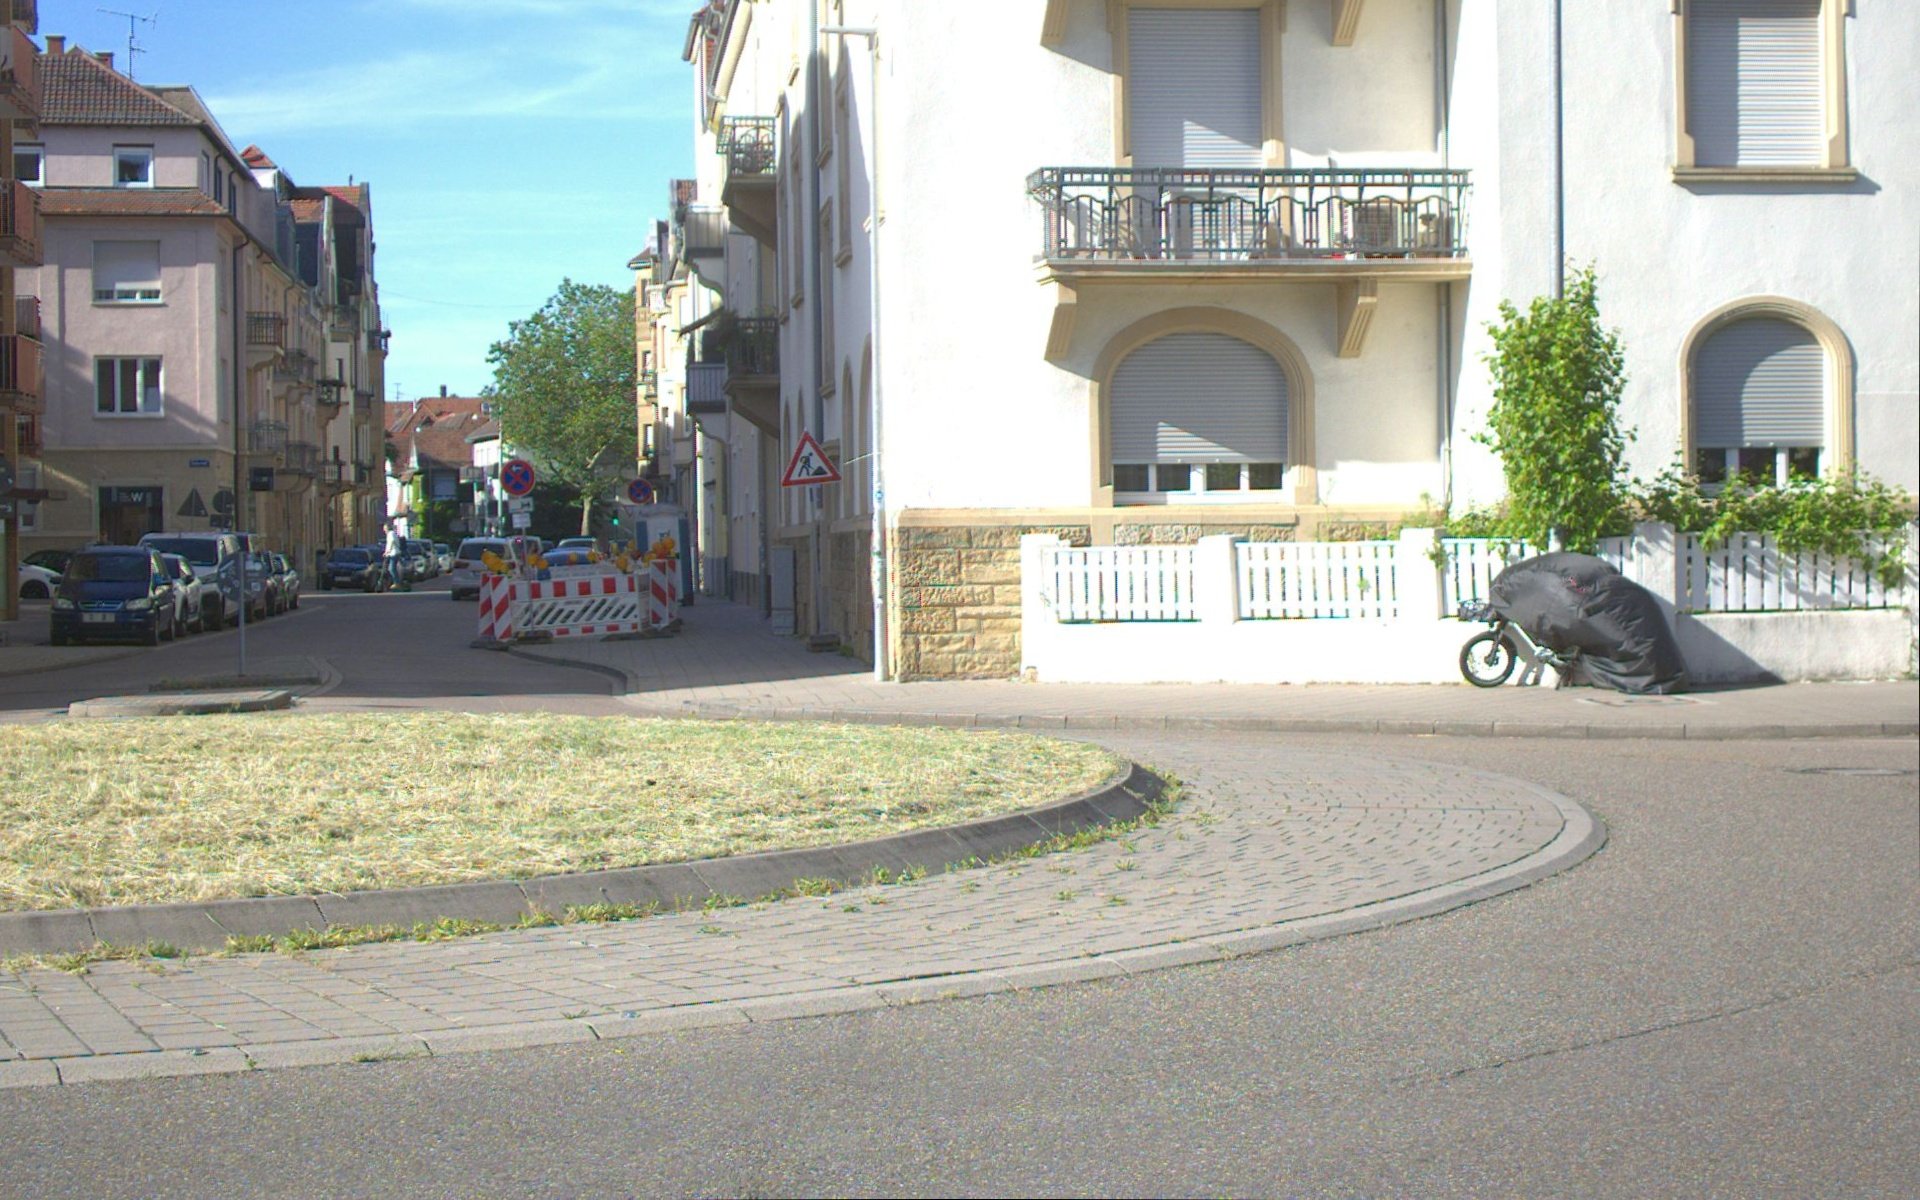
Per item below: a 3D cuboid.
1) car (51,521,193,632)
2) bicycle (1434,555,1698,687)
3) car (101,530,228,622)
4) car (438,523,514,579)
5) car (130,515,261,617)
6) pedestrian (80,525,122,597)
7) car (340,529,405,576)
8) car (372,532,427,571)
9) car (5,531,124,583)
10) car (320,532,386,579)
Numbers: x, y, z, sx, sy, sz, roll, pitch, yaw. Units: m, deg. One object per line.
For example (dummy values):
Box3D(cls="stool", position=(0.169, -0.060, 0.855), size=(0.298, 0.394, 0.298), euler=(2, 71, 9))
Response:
Box3D(cls="car", position=(-13.873, -0.422, 57.115), size=(1.762, 1.765, 4.295), euler=(0, 1, -6))
Box3D(cls="bicycle", position=(5.552, 0.175, 31.572), size=(2.283, 1.153, 0.765), euler=(1, 1, 36))
Box3D(cls="car", position=(-14.437, -0.462, 62.587), size=(1.762, 1.615, 4.296), euler=(0, 1, -6))
Box3D(cls="car", position=(-13.333, -1.339, 94.862), size=(1.838, 1.426, 4.029), euler=(-2, 0, -5))
Box3D(cls="car", position=(-15.080, -0.697, 68.081), size=(1.975, 1.918, 5.310), euler=(0, 1, -6))
Box3D(cls="pedestrian", position=(-21.588, -0.984, 86.425), size=(0.923, 1.811, 0.995), euler=(0, 1, -9))
Box3D(cls="car", position=(-20.970, -1.674, 122.830), size=(2.003, 1.577, 4.488), euler=(2, 0, -7))
Box3D(cls="car", position=(-22.641, -1.950, 139.018), size=(1.978, 1.477, 4.329), euler=(2, 0, -7))
Box3D(cls="car", position=(-26.499, -1.281, 101.675), size=(3.528, 1.434, 1.701), euler=(2, 2, 40))
Box3D(cls="car", position=(-19.821, -1.438, 112.317), size=(1.679, 1.421, 4.274), euler=(2, 0, -4))
